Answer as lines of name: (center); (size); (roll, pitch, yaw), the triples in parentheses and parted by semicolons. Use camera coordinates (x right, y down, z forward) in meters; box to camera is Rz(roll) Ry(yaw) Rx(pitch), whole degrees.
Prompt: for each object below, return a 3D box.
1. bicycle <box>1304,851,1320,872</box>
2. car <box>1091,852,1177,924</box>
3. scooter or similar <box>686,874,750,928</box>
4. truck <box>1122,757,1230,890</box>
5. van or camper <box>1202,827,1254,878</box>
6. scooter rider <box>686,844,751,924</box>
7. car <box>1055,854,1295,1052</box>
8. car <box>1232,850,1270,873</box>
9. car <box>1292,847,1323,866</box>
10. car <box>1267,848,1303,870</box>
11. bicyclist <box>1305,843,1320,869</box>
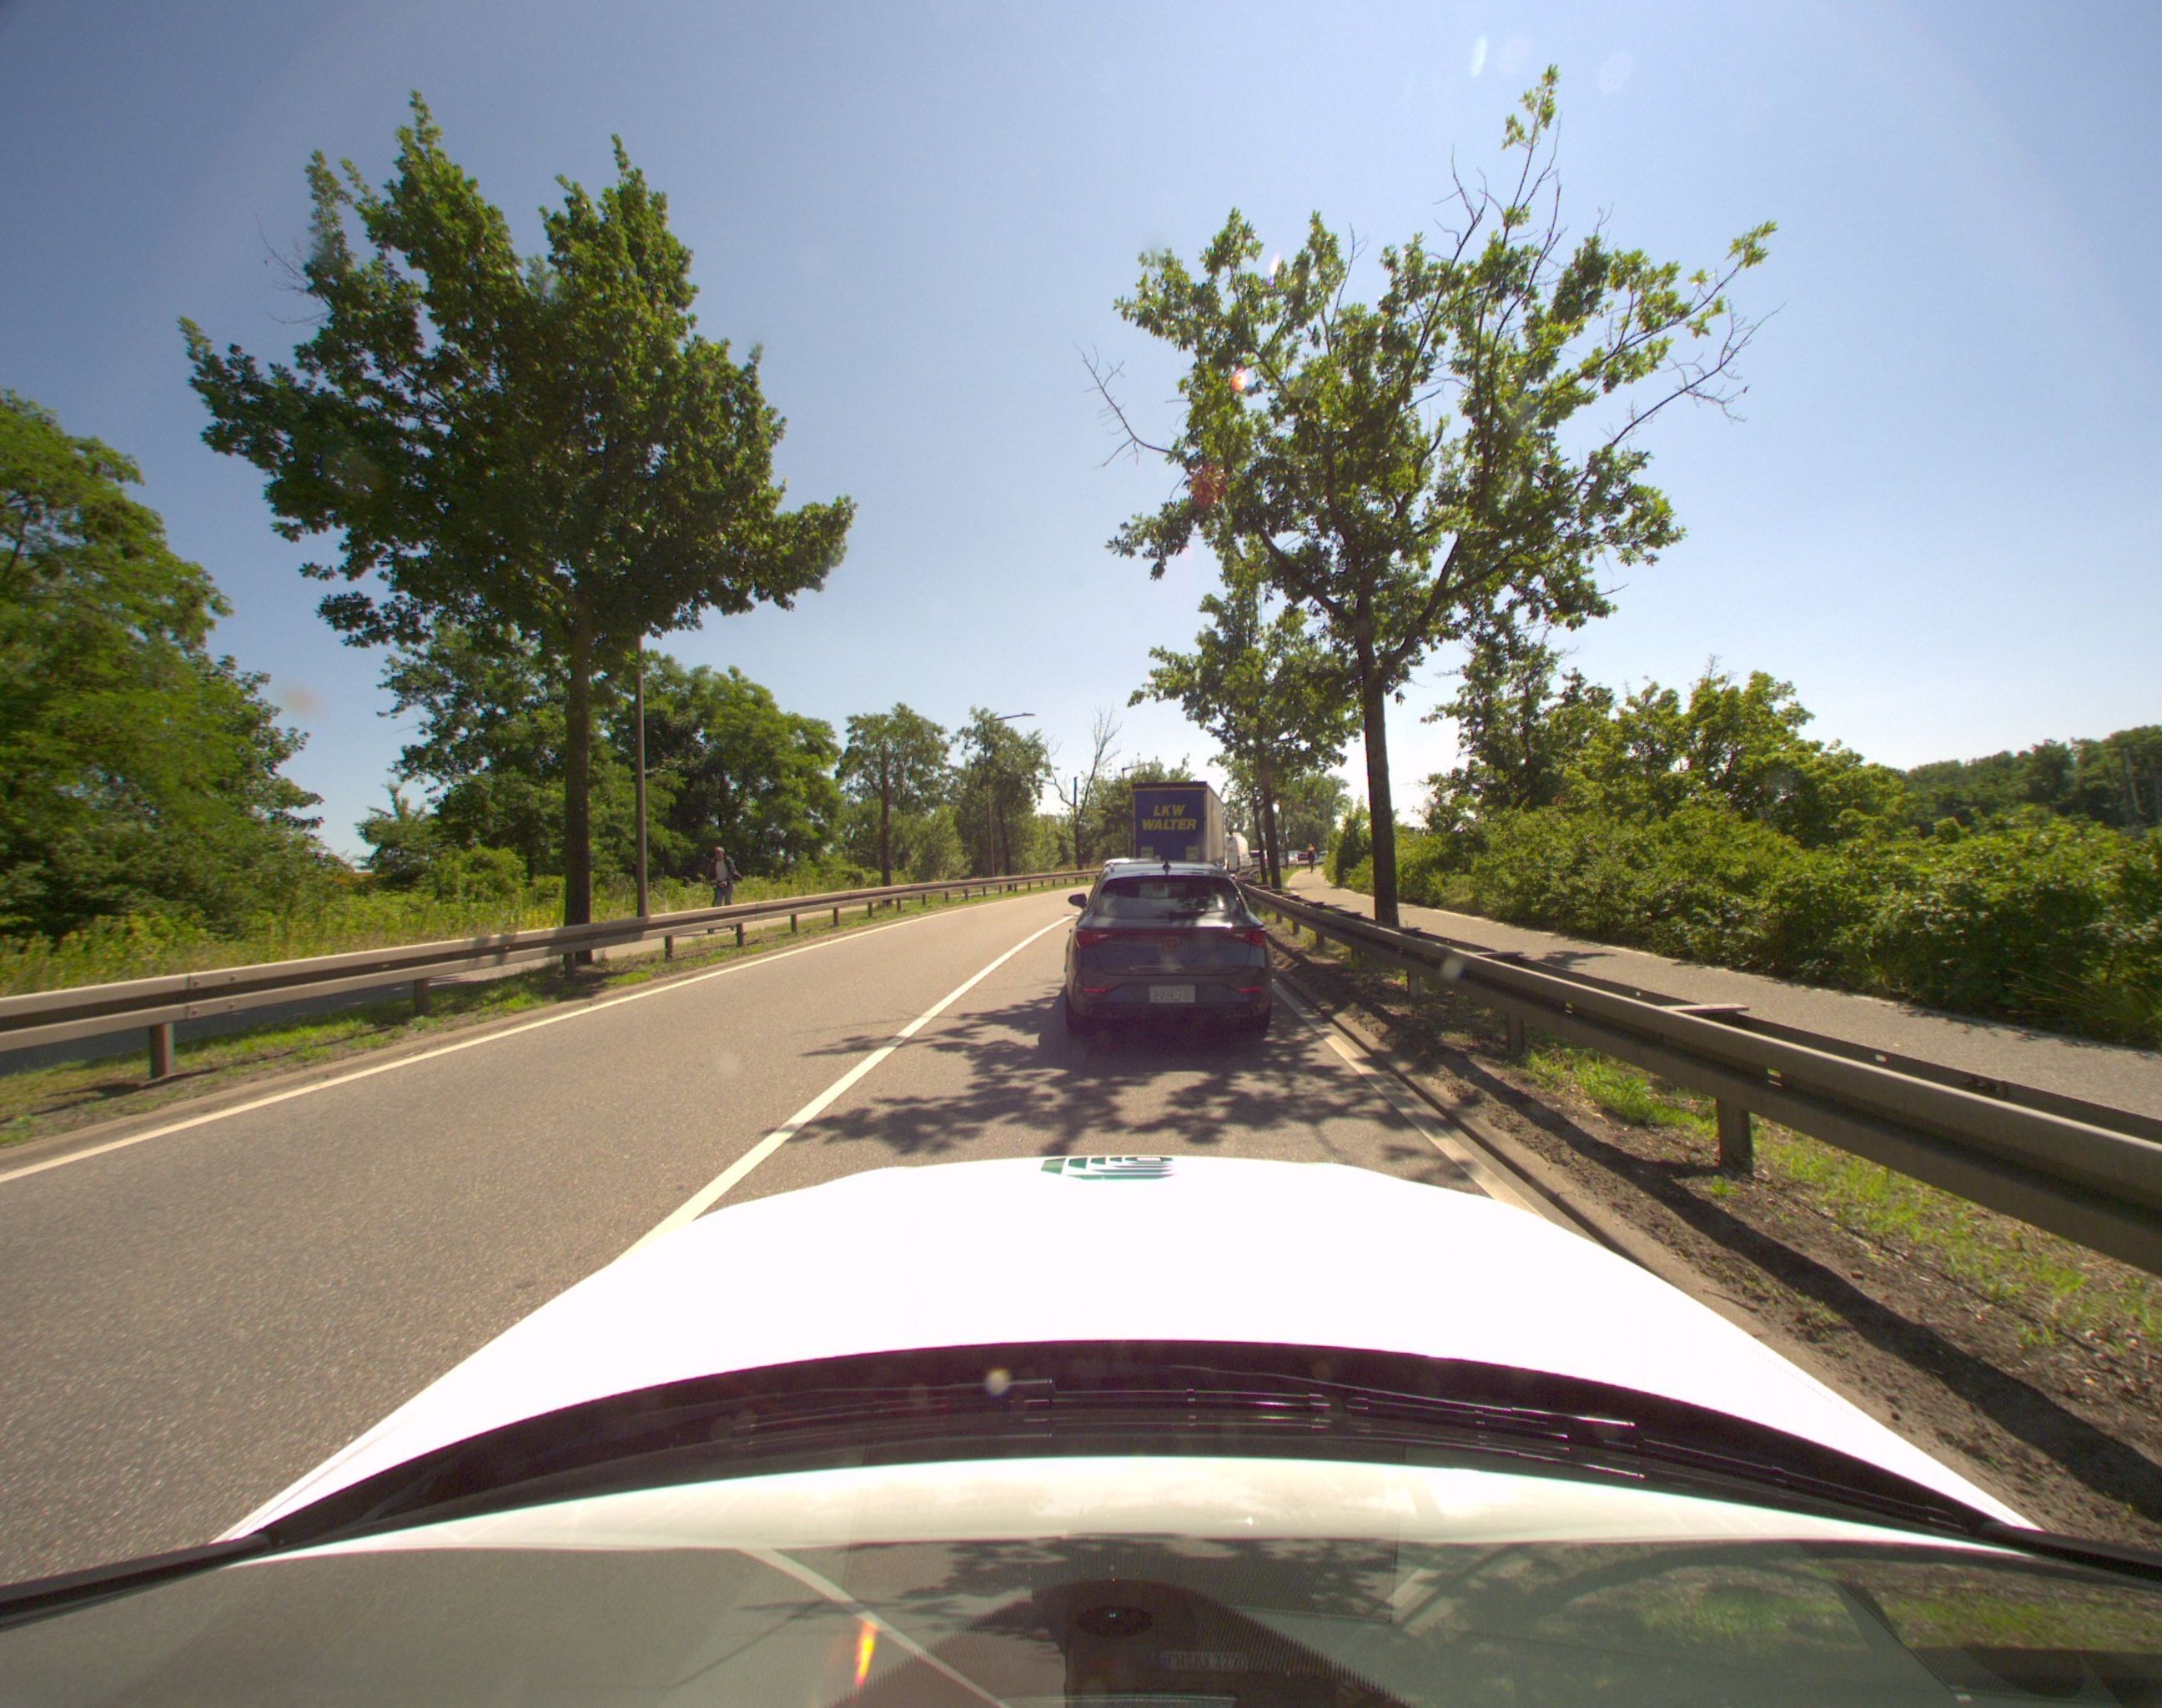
bicycle: (14.222, 0.459, 50.120); (0.854, 1.237, 2.318); (-1, 0, 14)
car: (1.276, 0.732, 19.178); (1.801, 1.508, 4.005); (-1, 0, 5)
scooter or similar: (-7.743, 0.997, 17.405); (0.772, 1.091, 1.098); (-1, -1, 9)
truck: (4.694, -0.983, 35.768); (2.930, 4.449, 16.855); (-1, 0, 12)
van or camper: (9.306, -0.058, 51.140); (2.447, 2.998, 6.113); (-1, 0, 17)
scooter rider: (-7.747, 0.619, 17.435); (0.772, 1.657, 1.123); (-1, -1, 9)
car: (0.721, 0.733, 7.893); (1.738, 1.432, 3.880); (-1, 0, 1)
car: (12.796, 0.550, 61.058); (1.976, 1.712, 4.645); (-1, 0, 22)
car: (21.799, 0.221, 78.162); (1.975, 1.717, 4.897); (-1, 0, 26)
car: (17.305, 0.430, 69.014); (1.975, 1.808, 4.874); (-1, 0, 26)
bicyclist: (14.226, 0.129, 50.112); (0.854, 1.523, 0.984); (-1, -1, 14)
